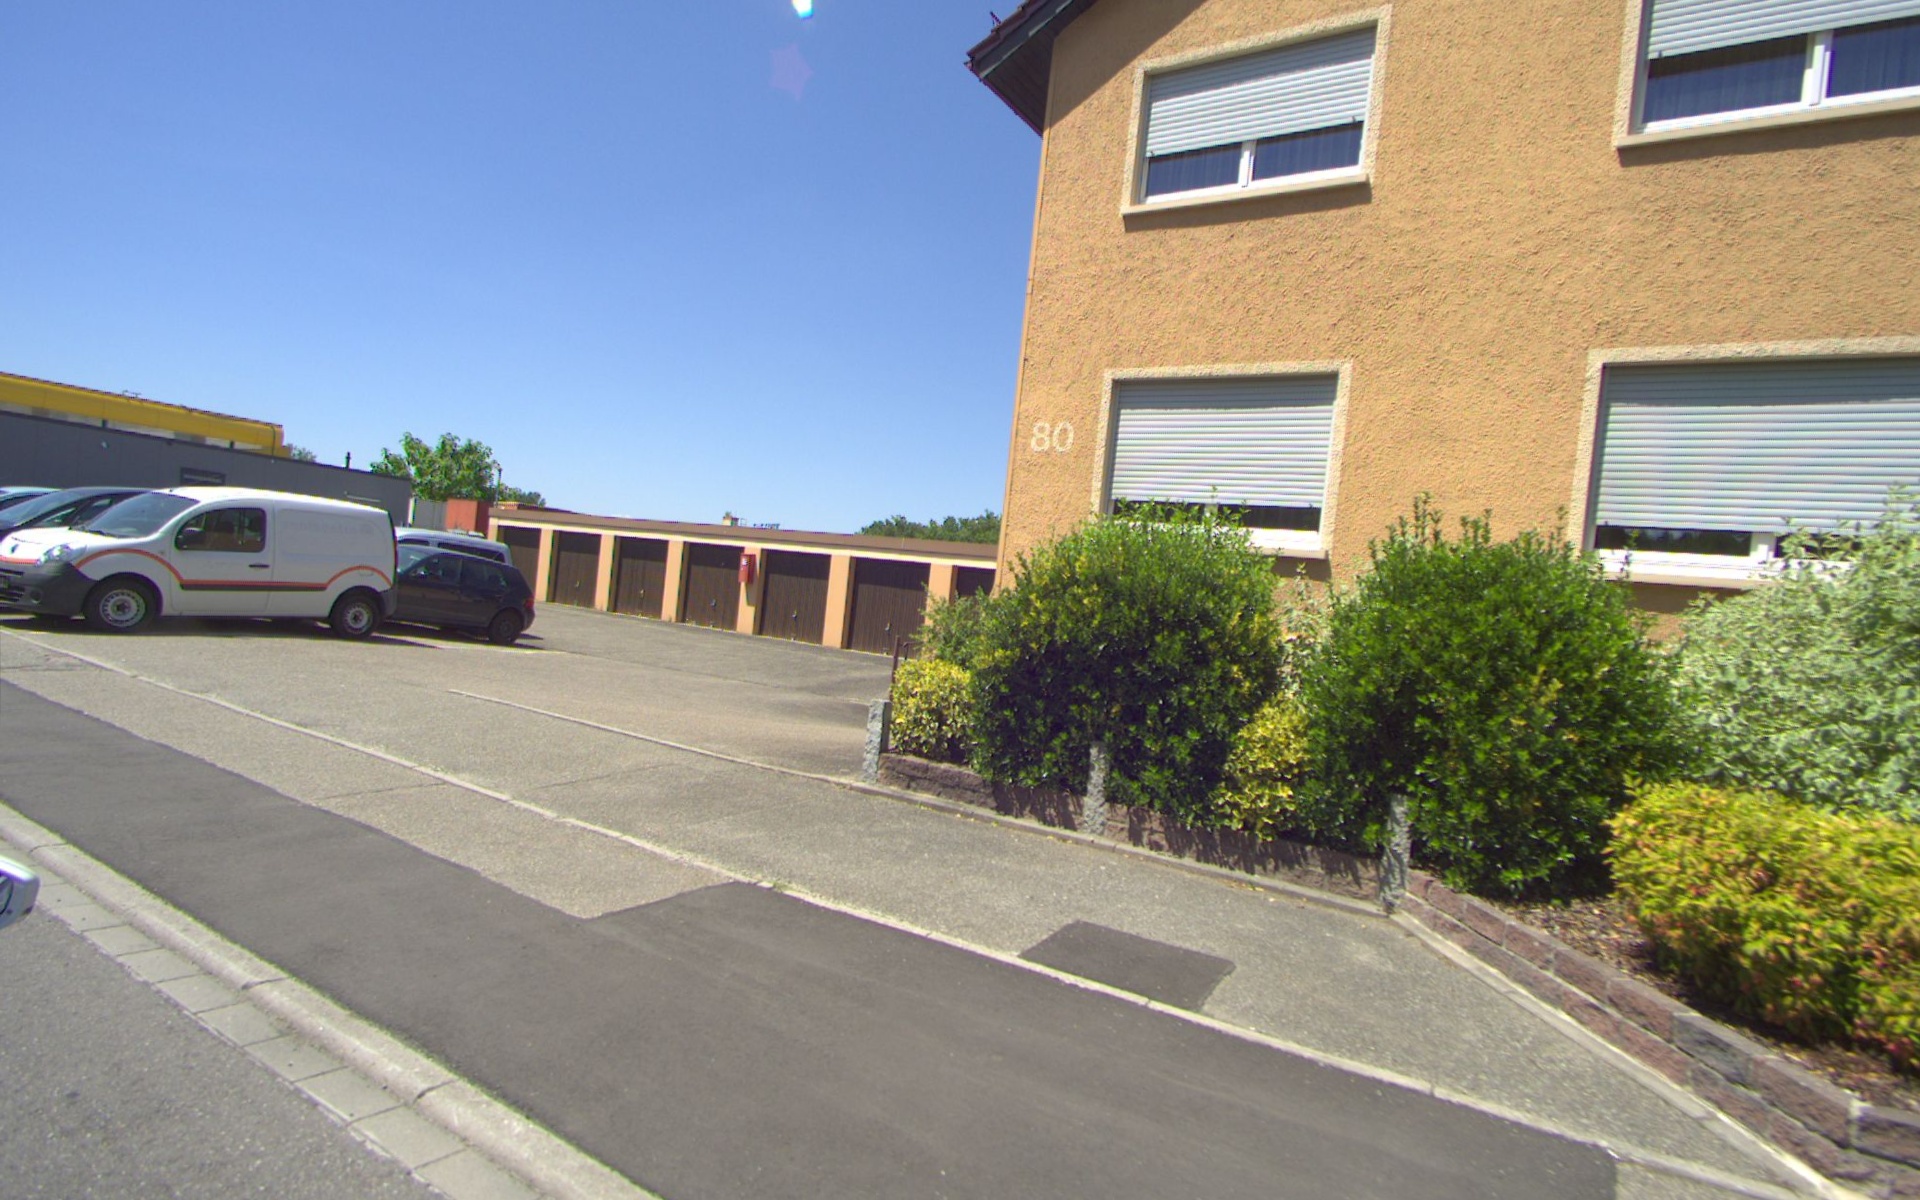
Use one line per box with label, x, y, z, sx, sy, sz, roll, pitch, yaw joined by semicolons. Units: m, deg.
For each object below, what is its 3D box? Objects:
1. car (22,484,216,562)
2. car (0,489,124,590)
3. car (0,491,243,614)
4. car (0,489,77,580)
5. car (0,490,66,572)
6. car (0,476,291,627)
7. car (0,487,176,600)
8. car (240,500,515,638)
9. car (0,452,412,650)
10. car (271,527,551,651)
car;-24.977;-2.256;30.000;1.917;1.677;3.989;6;-1;35
car;-16.859;-1.147;17.056;1.719;1.586;3.690;7;1;28
car;-13.205;-0.736;14.861;1.803;1.529;3.794;7;1;33
car;-18.767;-1.356;18.266;1.679;1.586;3.689;7;1;29
car;-20.682;-1.568;19.766;1.925;1.554;4.228;7;1;31
car;-11.499;-0.637;13.387;1.733;1.702;3.880;7;1;29
car;-14.972;-0.970;15.878;1.614;1.586;3.688;7;1;30
car;-10.627;-0.491;18.643;1.661;1.858;3.902;6;-3;33
car;-9.511;-0.491;12.694;1.776;1.962;4.144;7;0;27
car;-9.195;-0.111;17.149;1.915;1.483;3.619;7;-3;27
